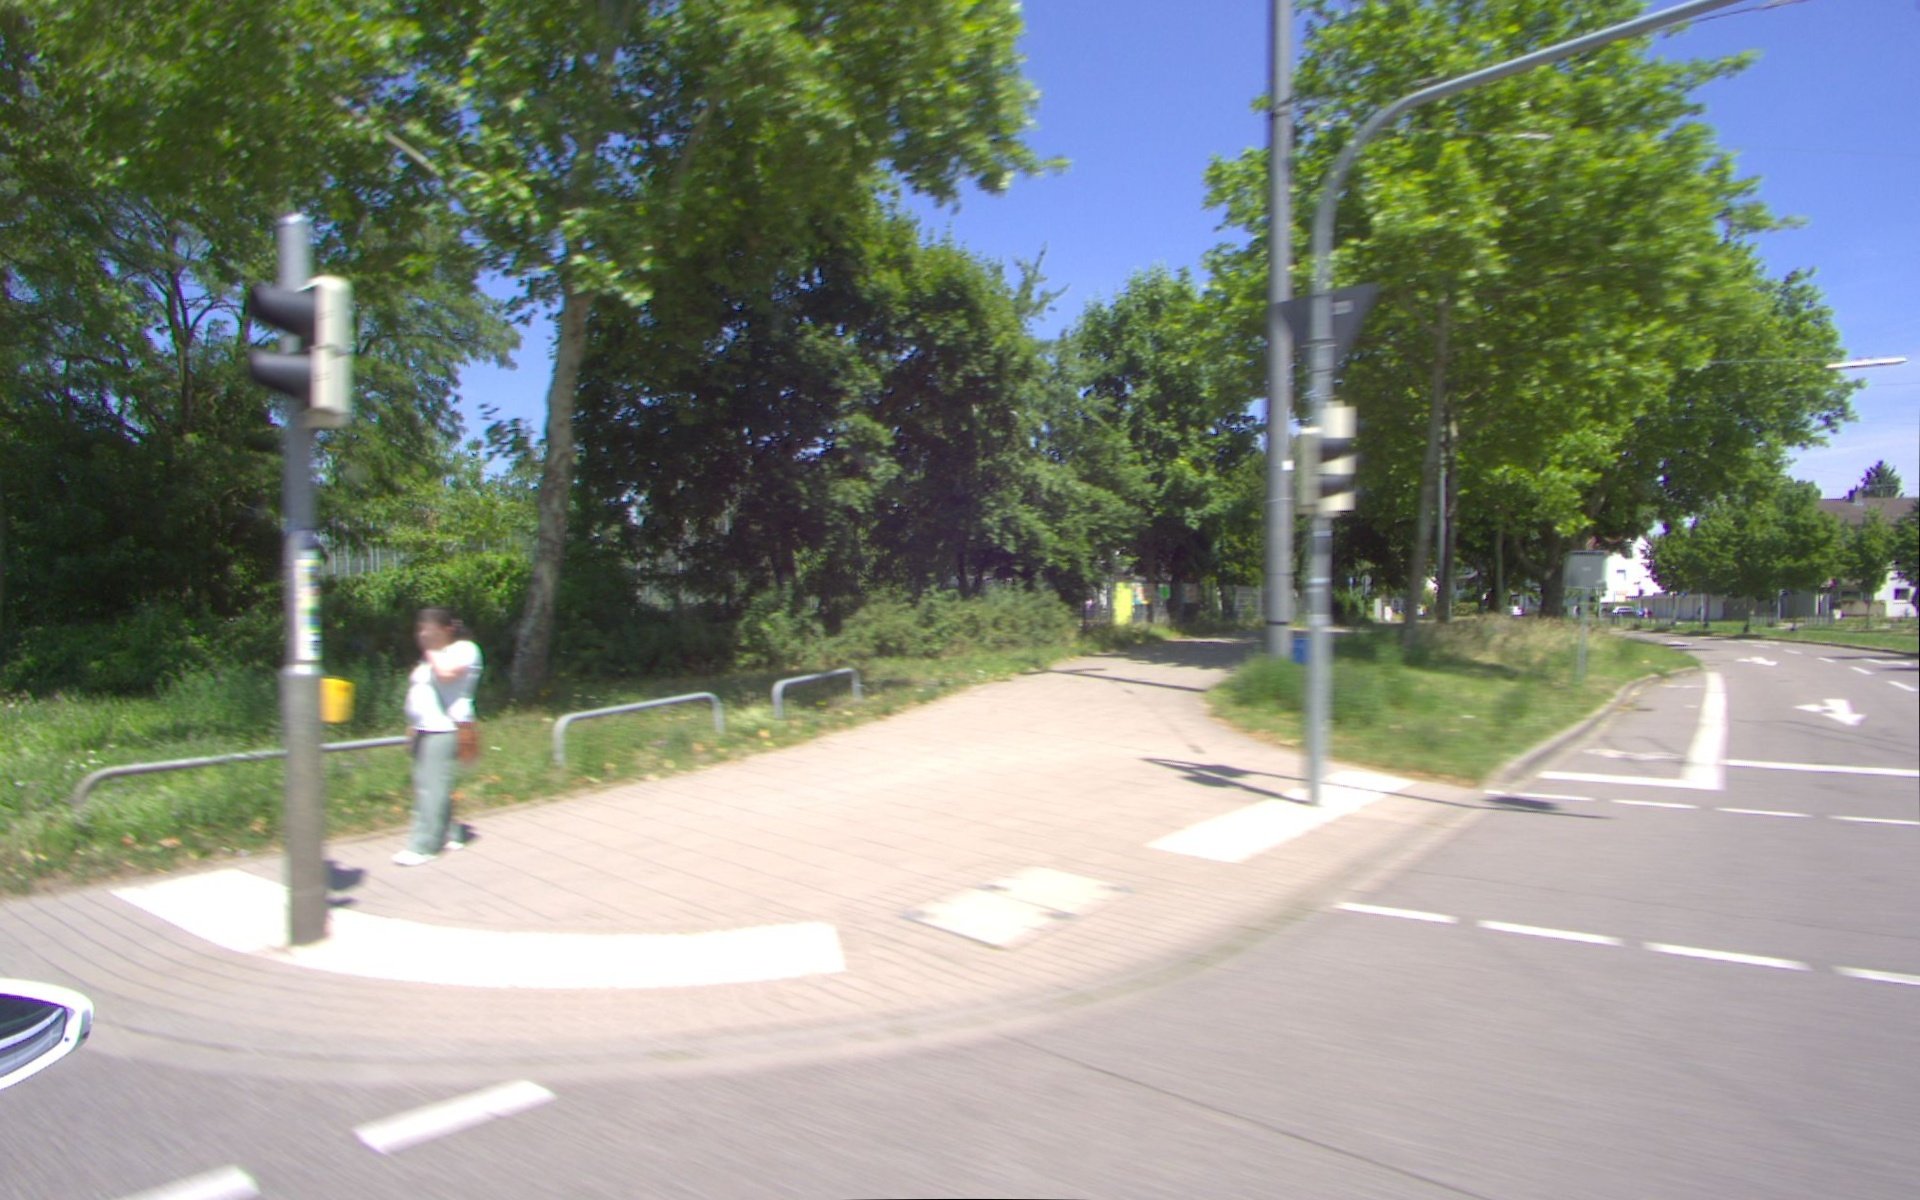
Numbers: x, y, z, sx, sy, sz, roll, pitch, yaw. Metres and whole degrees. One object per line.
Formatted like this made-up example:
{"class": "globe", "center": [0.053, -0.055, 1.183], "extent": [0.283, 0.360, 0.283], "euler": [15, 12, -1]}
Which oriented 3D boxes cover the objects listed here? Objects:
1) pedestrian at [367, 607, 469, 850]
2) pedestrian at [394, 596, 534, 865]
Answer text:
{"class": "pedestrian", "center": [-3.413, 0.772, 6.309], "extent": [0.447, 1.455, 0.432], "euler": [1, 1, 41]}
{"class": "pedestrian", "center": [-2.966, 0.731, 5.992], "extent": [0.622, 1.503, 0.550], "euler": [1, 0, 40]}
